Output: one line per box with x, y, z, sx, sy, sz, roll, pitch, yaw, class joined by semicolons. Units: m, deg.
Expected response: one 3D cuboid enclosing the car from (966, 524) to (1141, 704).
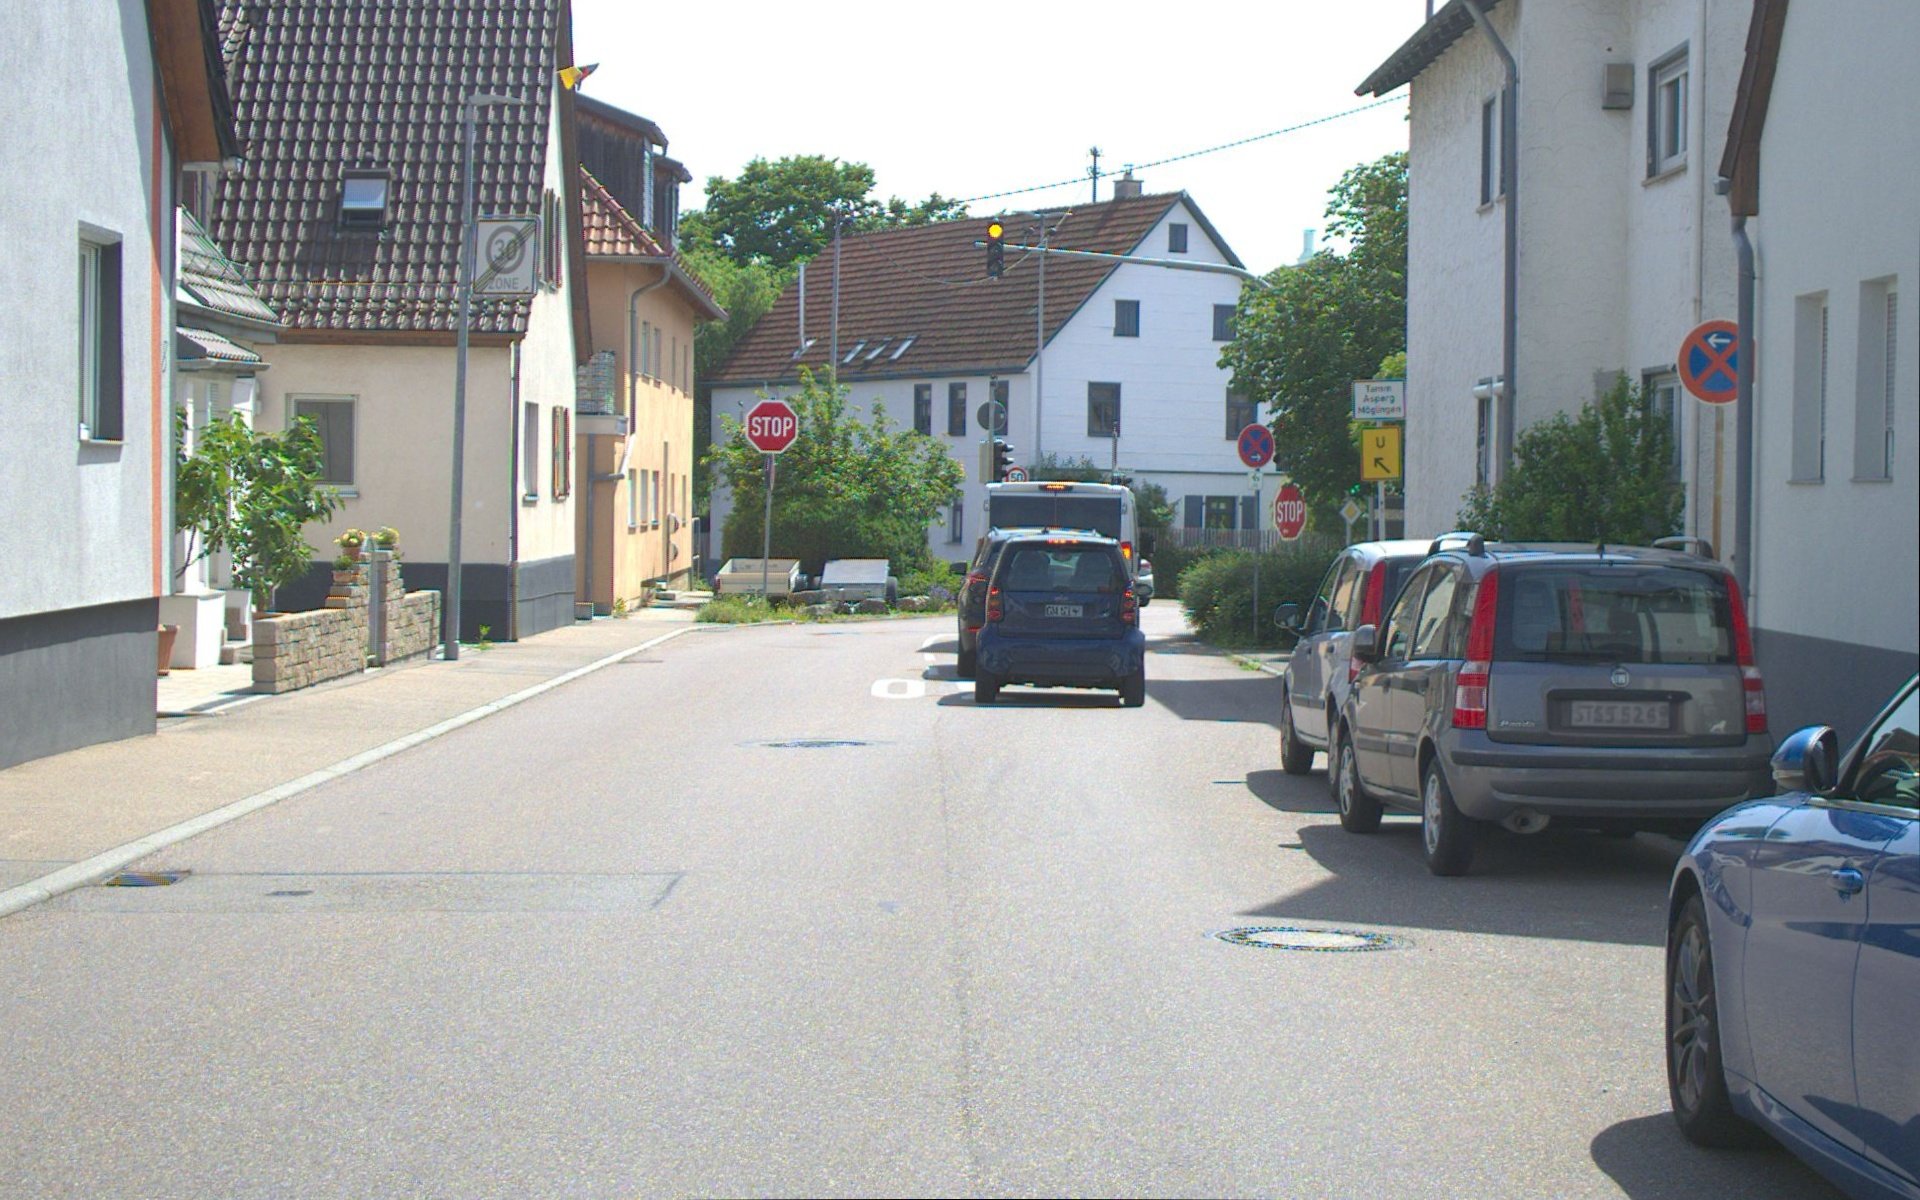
0.910;0.094;32.136;1.516;1.561;3.184;1;1;3;car

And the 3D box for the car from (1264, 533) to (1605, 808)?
2.826;0.368;21.091;1.498;1.508;3.362;2;1;-2;car

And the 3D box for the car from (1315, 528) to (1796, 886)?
2.806;0.440;16.882;1.567;1.540;3.450;1;1;-3;car

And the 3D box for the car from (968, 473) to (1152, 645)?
1.407;-0.569;46.164;2.129;2.151;4.735;1;1;5;car

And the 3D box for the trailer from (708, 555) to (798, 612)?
-3.713;-0.299;61.812;1.502;0.924;1.012;3;1;1;trailer

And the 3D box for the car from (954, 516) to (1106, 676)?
0.784;-0.076;36.901;1.516;1.619;3.184;1;1;3;car

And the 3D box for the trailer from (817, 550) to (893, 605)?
-1.879;-0.409;61.733;1.311;0.967;0.933;1;1;1;trailer

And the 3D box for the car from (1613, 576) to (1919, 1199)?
2.650;0.715;7.065;1.763;1.419;4.592;2;1;1;car
